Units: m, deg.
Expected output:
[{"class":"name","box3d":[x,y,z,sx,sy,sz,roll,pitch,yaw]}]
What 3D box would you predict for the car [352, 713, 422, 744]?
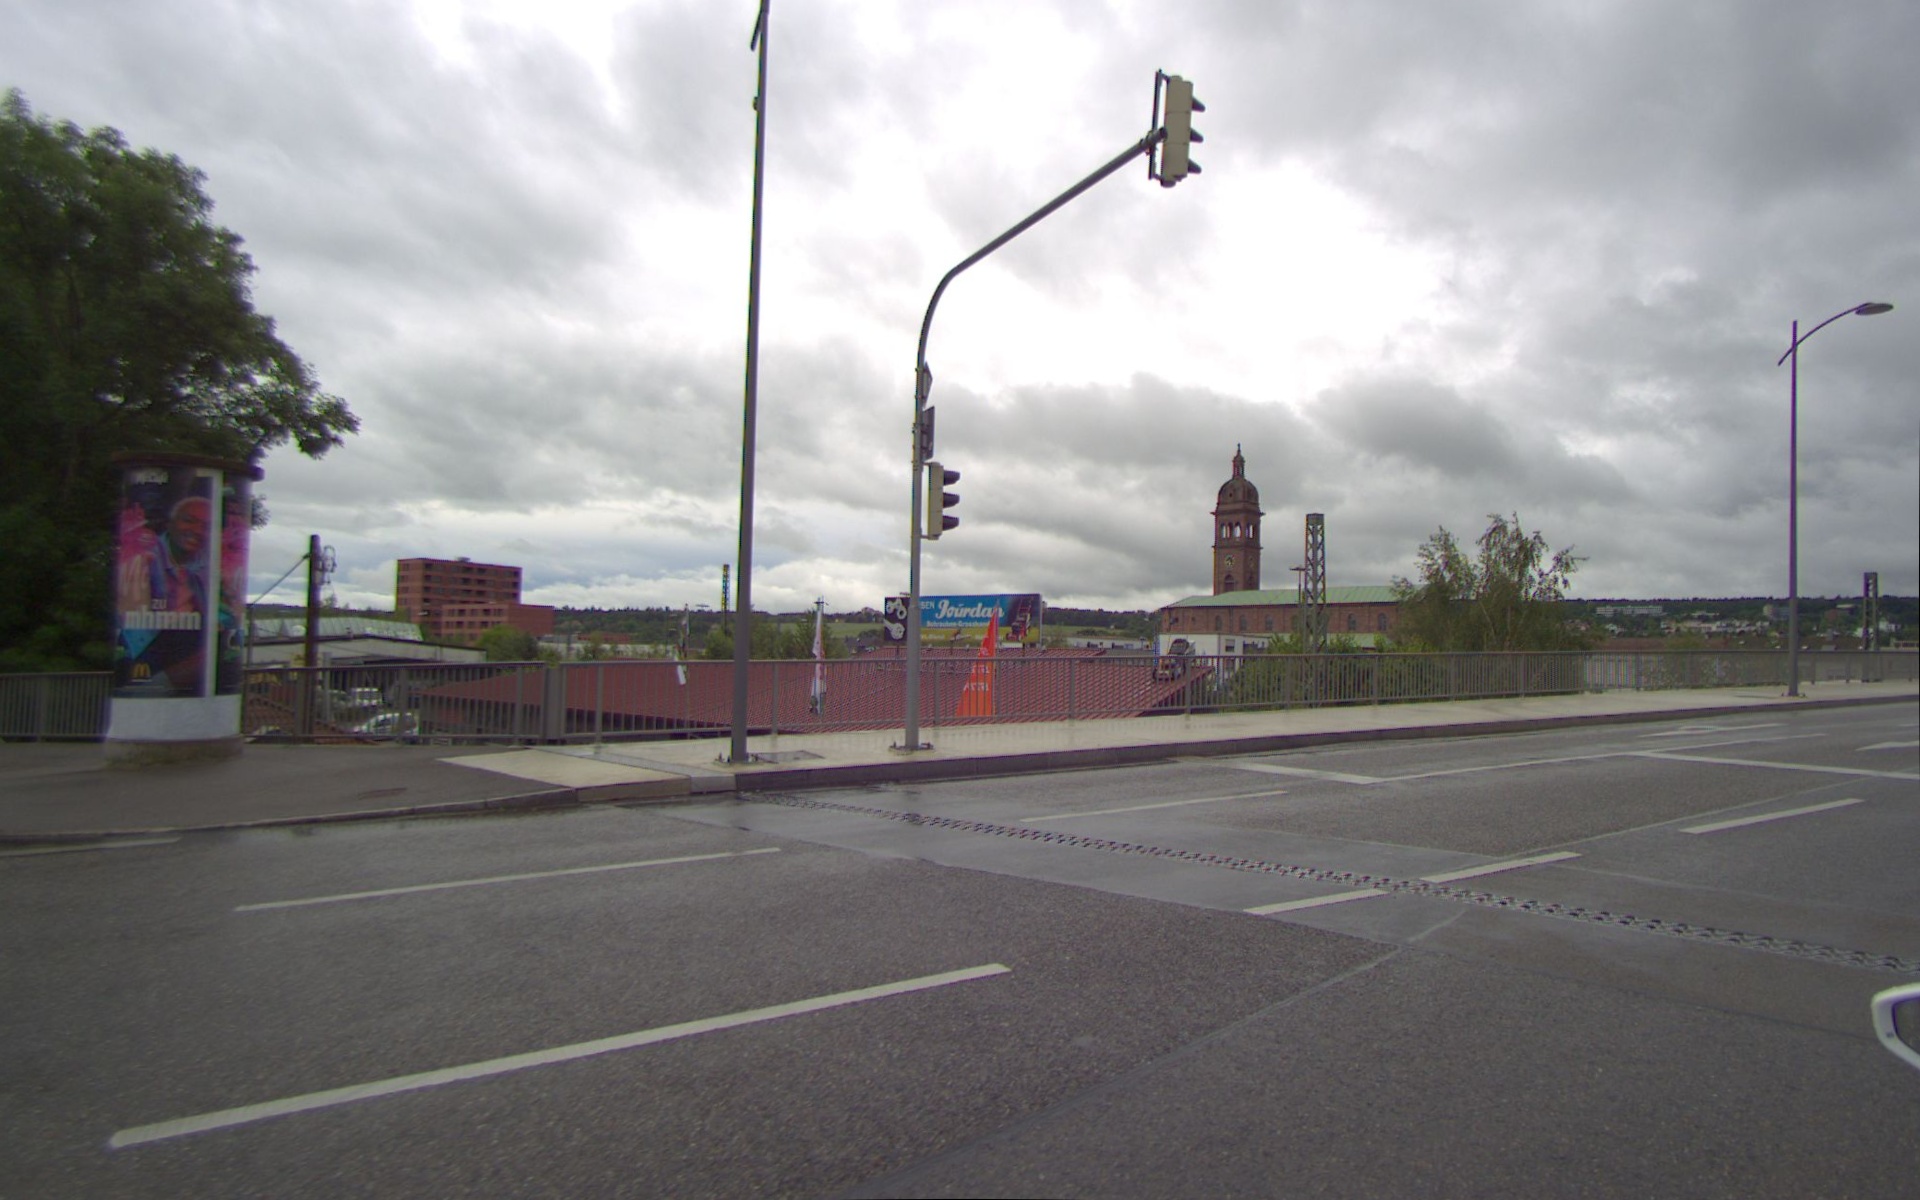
[{"class":"car","box3d":[-42.233,9.434,74.095,1.973,2.039,3.976,-2,-5,45]}]
